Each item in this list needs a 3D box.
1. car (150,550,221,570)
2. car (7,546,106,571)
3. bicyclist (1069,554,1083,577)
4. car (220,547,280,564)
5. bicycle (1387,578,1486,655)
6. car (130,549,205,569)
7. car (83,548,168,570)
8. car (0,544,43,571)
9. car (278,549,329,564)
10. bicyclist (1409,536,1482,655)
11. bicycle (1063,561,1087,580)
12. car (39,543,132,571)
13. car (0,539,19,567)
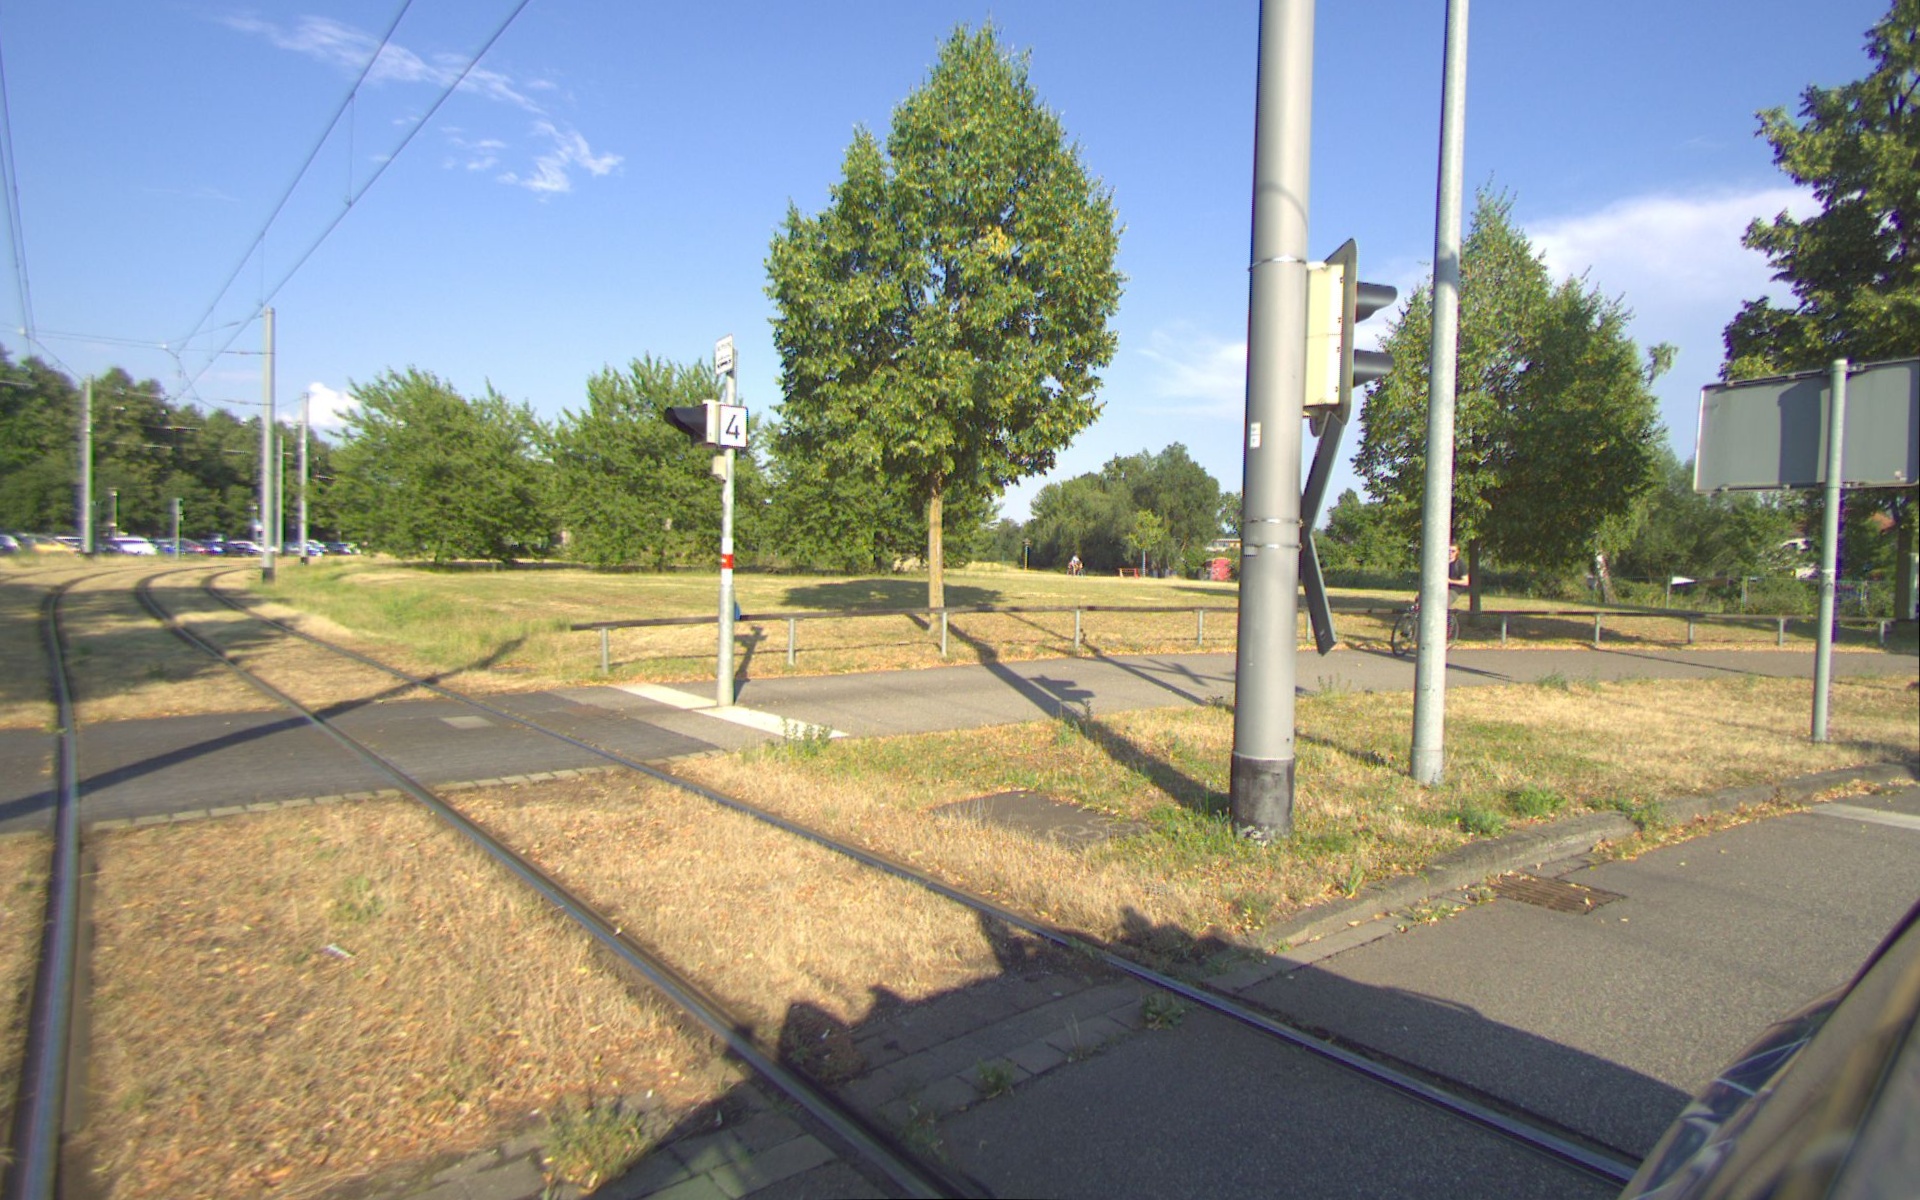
[{"bbox_3d":[-59.273,-3.077,77.470,3.916,1.420,1.832,0,2,-17],"label":"car"},{"bbox_3d":[-53.002,-2.433,59.464,3.916,1.420,1.832,0,2,-17],"label":"car"},{"bbox_3d":[9.070,-2.707,79.090,0.925,1.802,0.628,0,0,42],"label":"bicyclist"},{"bbox_3d":[-61.803,-3.866,88.153,3.916,1.420,1.832,0,2,-17],"label":"car"},{"bbox_3d":[7.692,0.253,16.294,1.853,1.172,0.417,0,3,-30],"label":"bicycle"},{"bbox_3d":[-58.235,-3.033,74.413,3.916,1.420,1.832,0,2,-17],"label":"car"},{"bbox_3d":[-55.390,-2.719,67.259,3.916,1.420,1.832,0,2,-17],"label":"car"},{"bbox_3d":[-51.868,-2.296,54.011,3.916,1.420,1.832,0,2,-17],"label":"car"},{"bbox_3d":[-65.603,-4.330,101.239,3.916,1.420,1.832,0,2,-17],"label":"car"},{"bbox_3d":[7.826,-0.085,16.330,0.813,1.851,0.622,0,3,-31],"label":"bicyclist"},{"bbox_3d":[8.989,-2.281,79.140,1.936,1.468,0.387,0,0,42],"label":"bicycle"},{"bbox_3d":[-53.786,-2.642,62.298,3.916,1.588,1.832,0,2,-17],"label":"car"},{"bbox_3d":[-51.055,-2.432,51.698,3.916,1.420,1.832,0,2,-17],"label":"car"}]
